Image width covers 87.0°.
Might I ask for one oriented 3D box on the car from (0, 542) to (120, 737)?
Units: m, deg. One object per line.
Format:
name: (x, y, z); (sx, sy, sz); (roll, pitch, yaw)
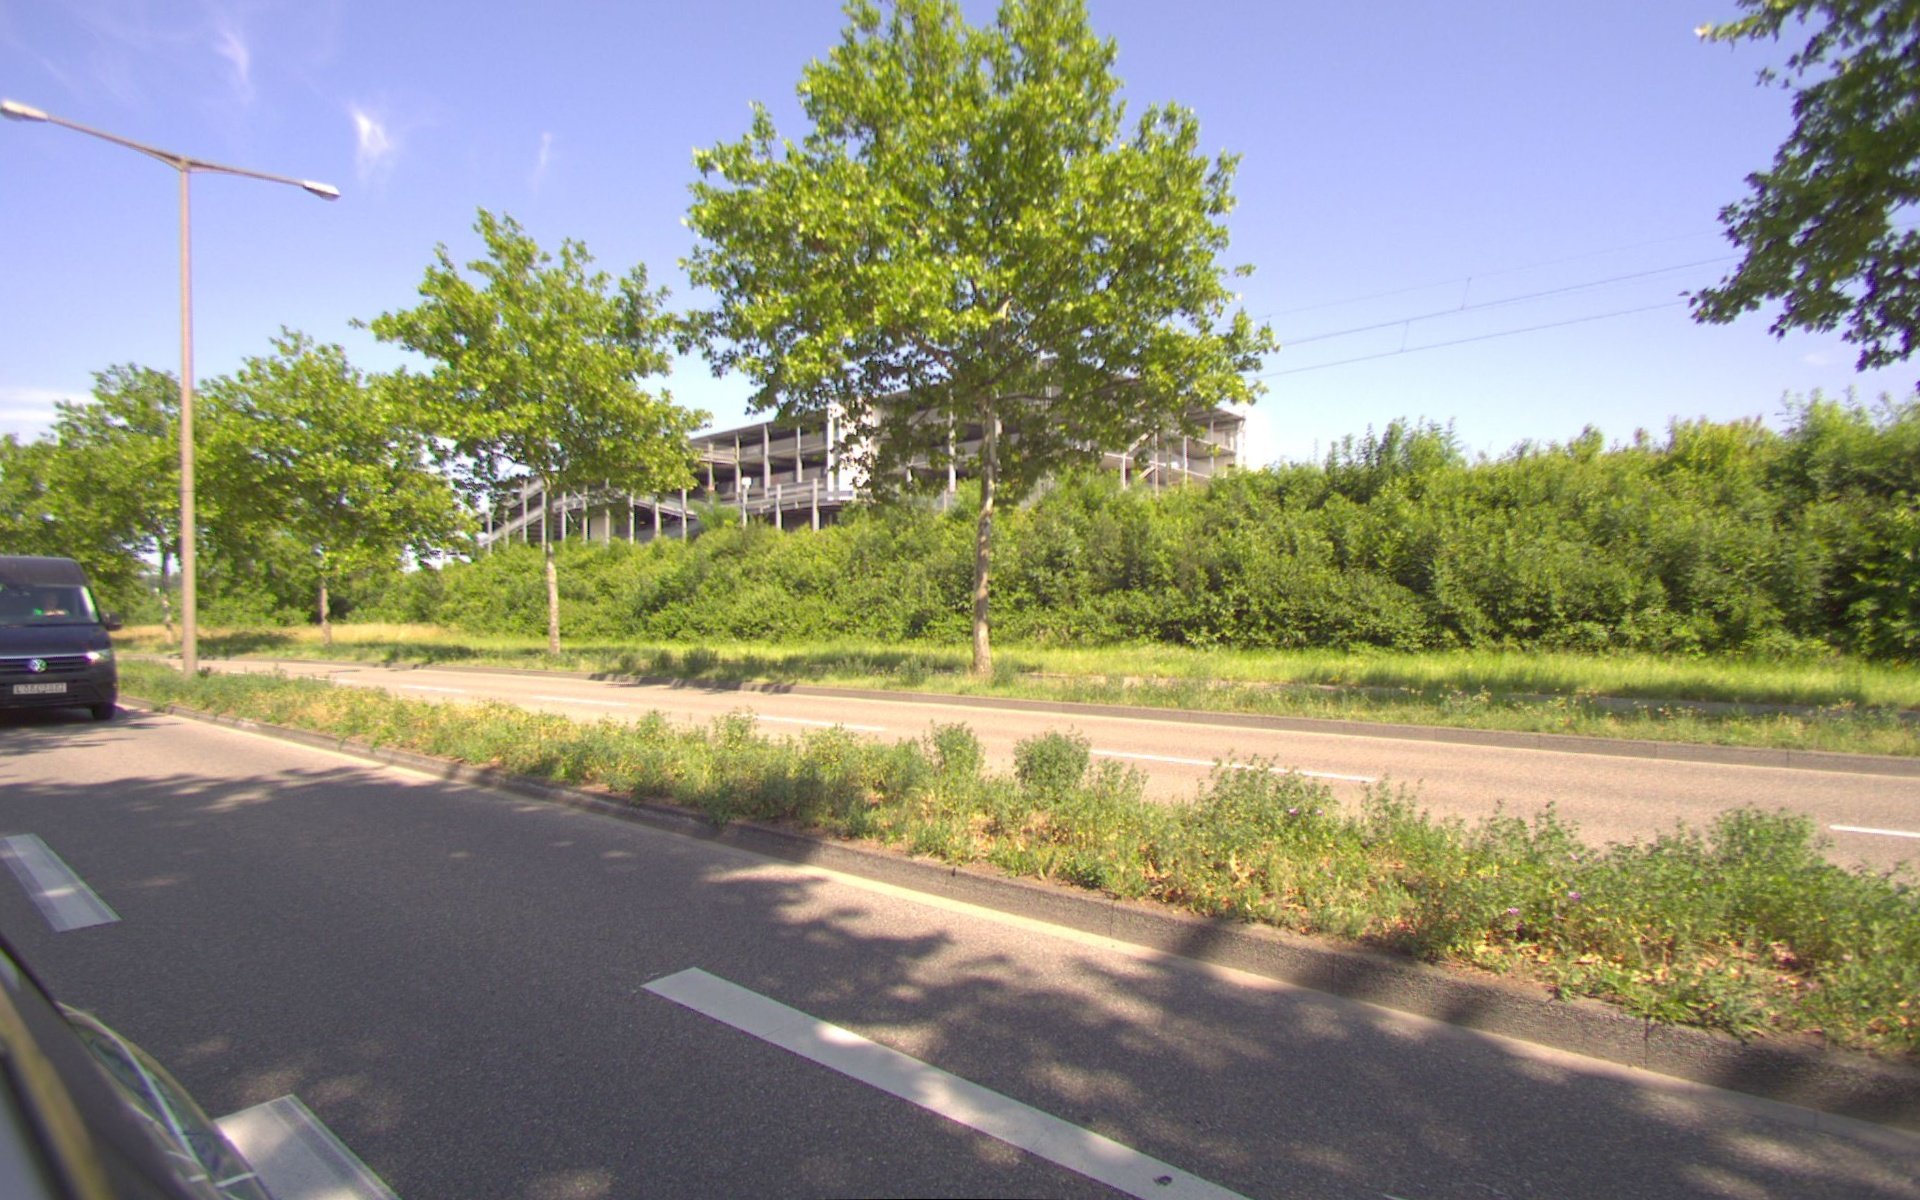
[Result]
car: (-15.187, 0.572, 15.874); (6.163, 2.627, 1.996); (-1, 0, 40)
